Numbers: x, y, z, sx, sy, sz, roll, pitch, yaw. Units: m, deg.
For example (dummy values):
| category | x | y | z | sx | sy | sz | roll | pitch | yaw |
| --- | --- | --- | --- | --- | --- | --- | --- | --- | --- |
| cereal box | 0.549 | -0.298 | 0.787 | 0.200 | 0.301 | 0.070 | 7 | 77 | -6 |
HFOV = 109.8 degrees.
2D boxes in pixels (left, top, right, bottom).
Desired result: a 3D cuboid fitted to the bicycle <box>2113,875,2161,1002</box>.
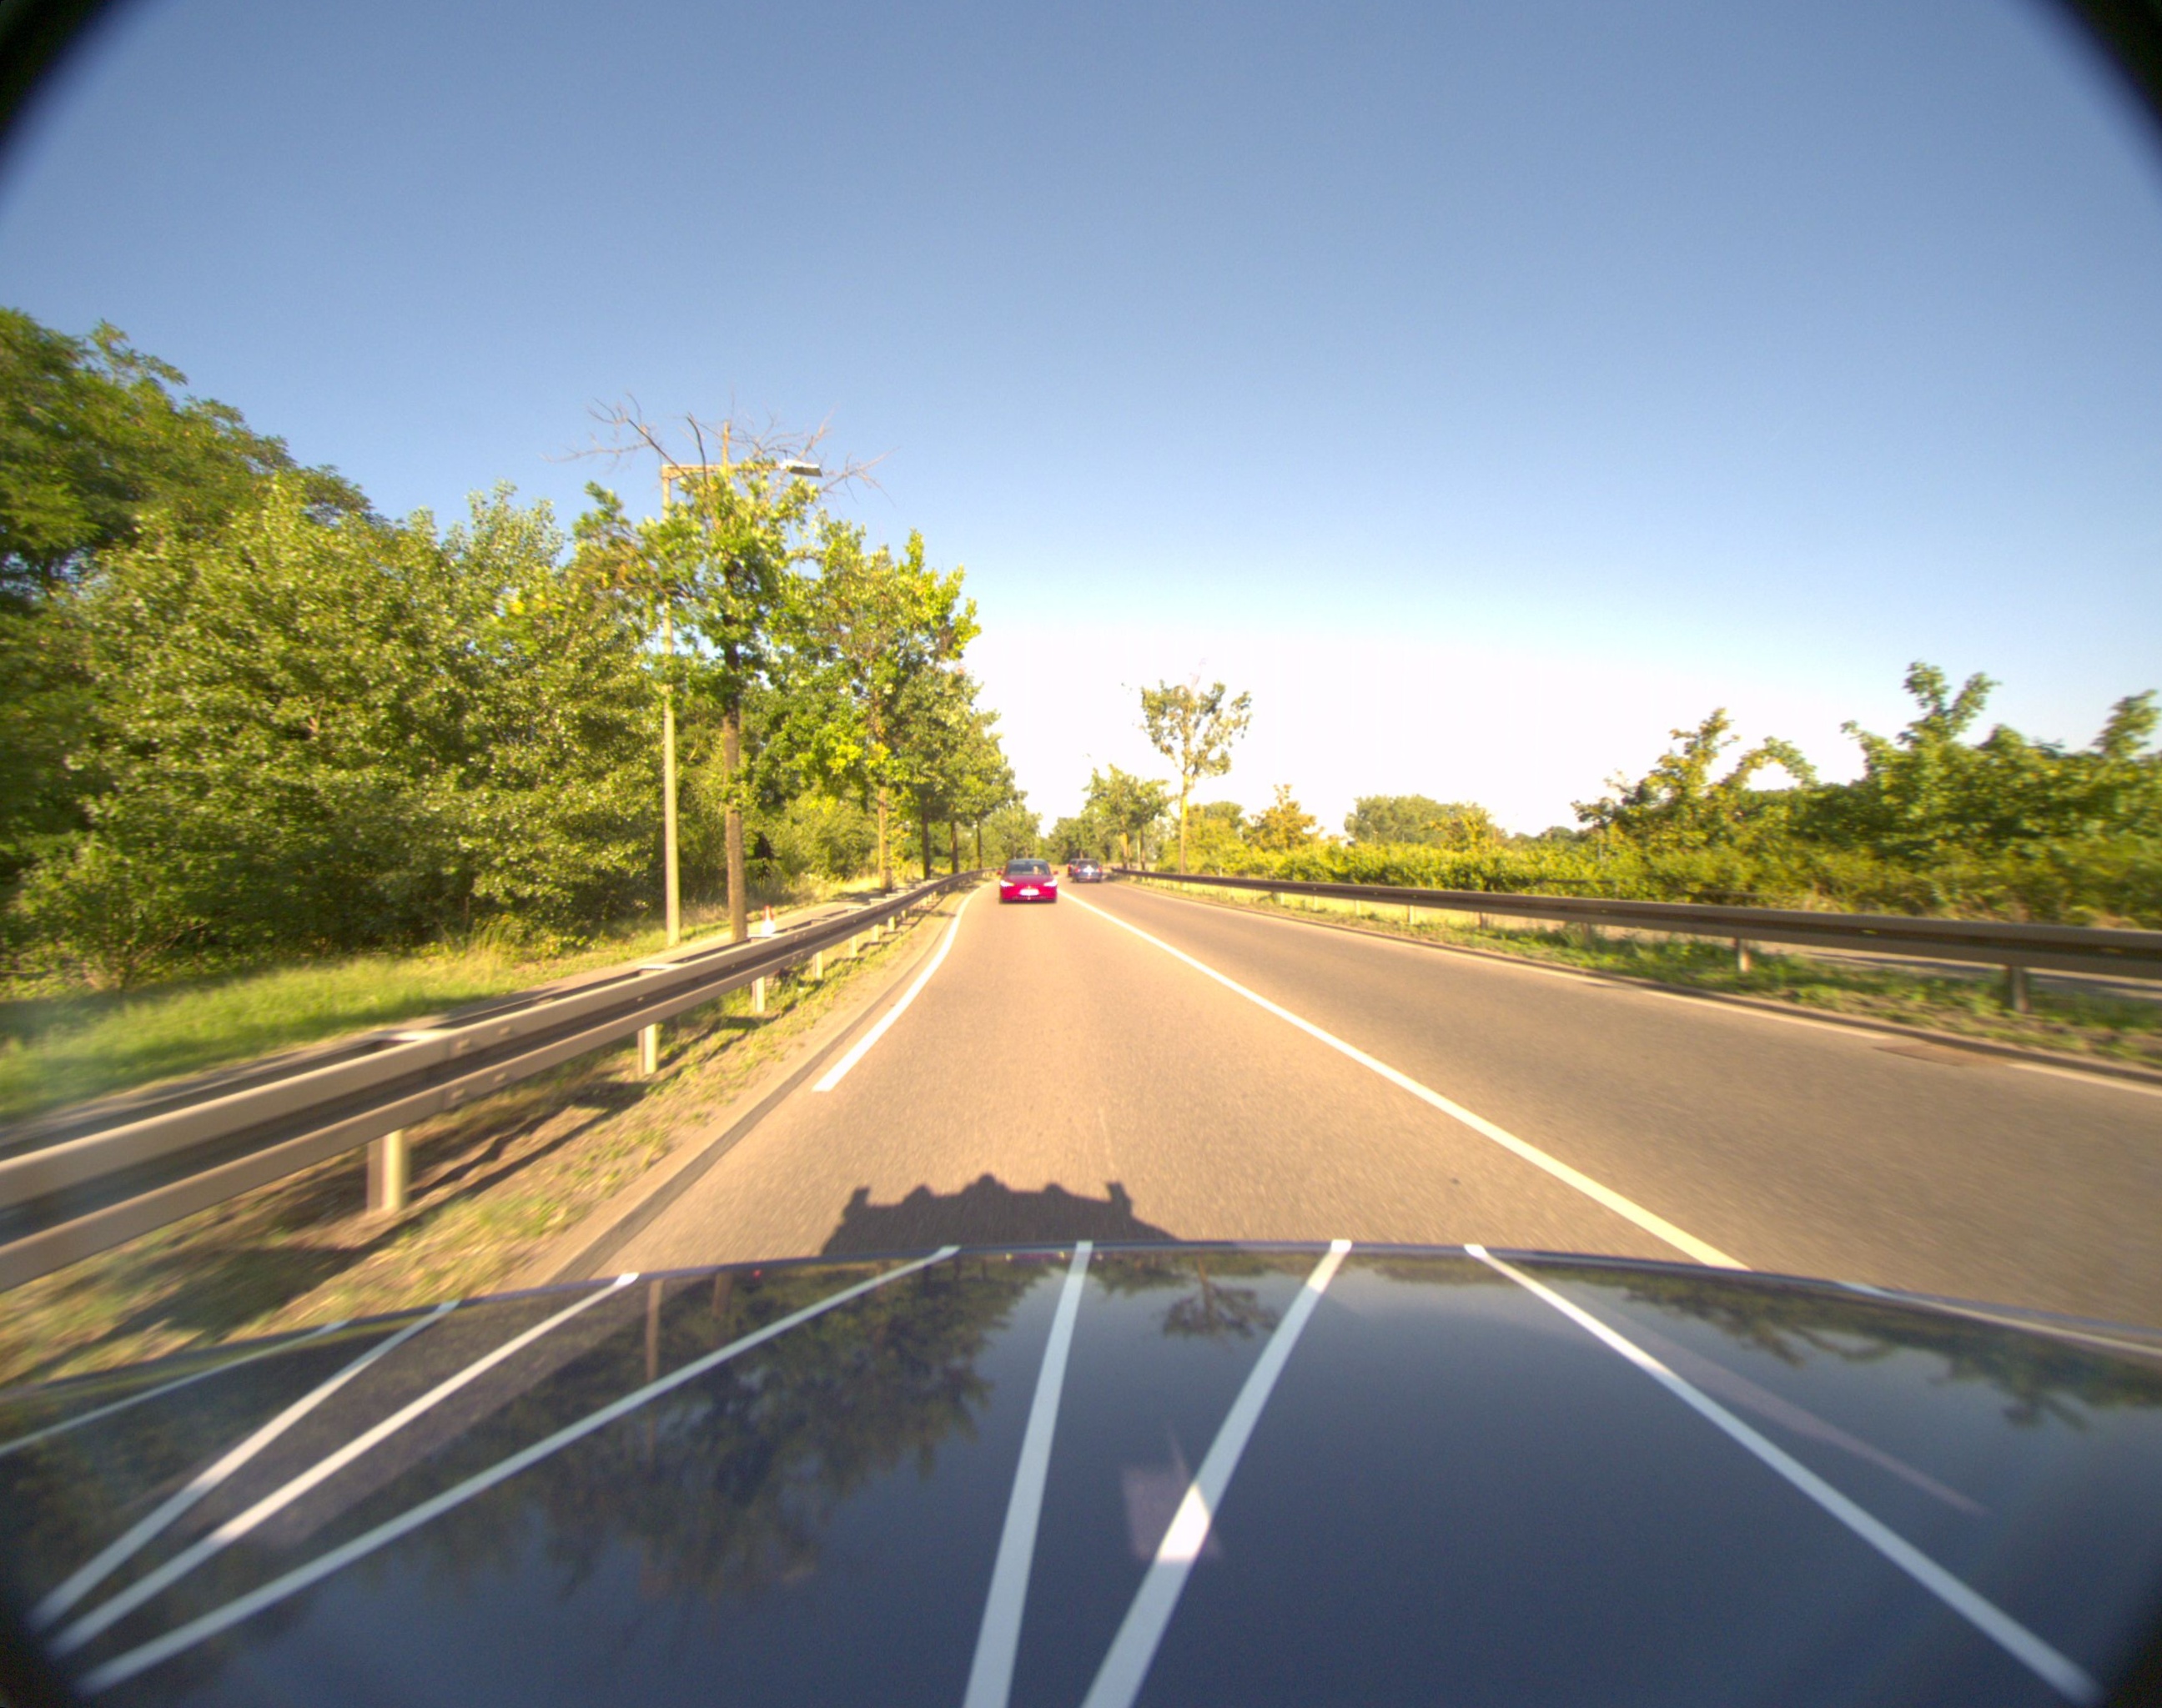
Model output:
| category | x | y | z | sx | sy | sz | roll | pitch | yaw |
| --- | --- | --- | --- | --- | --- | --- | --- | --- | --- |
| bicycle | 9.624 | 0.737 | 5.674 | 0.584 | 1.071 | 2.312 | 0 | 1 | -4 |

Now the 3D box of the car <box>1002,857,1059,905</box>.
| category | x | y | z | sx | sy | sz | roll | pitch | yaw |
| --- | --- | --- | --- | --- | --- | --- | --- | --- | --- |
| car | -1.736 | 0.849 | 25.746 | 1.782 | 1.434 | 4.357 | 0 | 1 | -5 |

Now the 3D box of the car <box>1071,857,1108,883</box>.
| category | x | y | z | sx | sy | sz | roll | pitch | yaw |
| --- | --- | --- | --- | --- | --- | --- | --- | --- | --- |
| car | 0.462 | 0.912 | 44.193 | 1.688 | 1.415 | 3.857 | 0 | 0 | -6 |

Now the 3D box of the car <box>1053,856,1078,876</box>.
| category | x | y | z | sx | sy | sz | roll | pitch | yaw |
| --- | --- | --- | --- | --- | --- | --- | --- | --- | --- |
| car | -1.252 | 0.929 | 60.072 | 1.701 | 1.458 | 3.857 | 0 | 0 | -5 |
